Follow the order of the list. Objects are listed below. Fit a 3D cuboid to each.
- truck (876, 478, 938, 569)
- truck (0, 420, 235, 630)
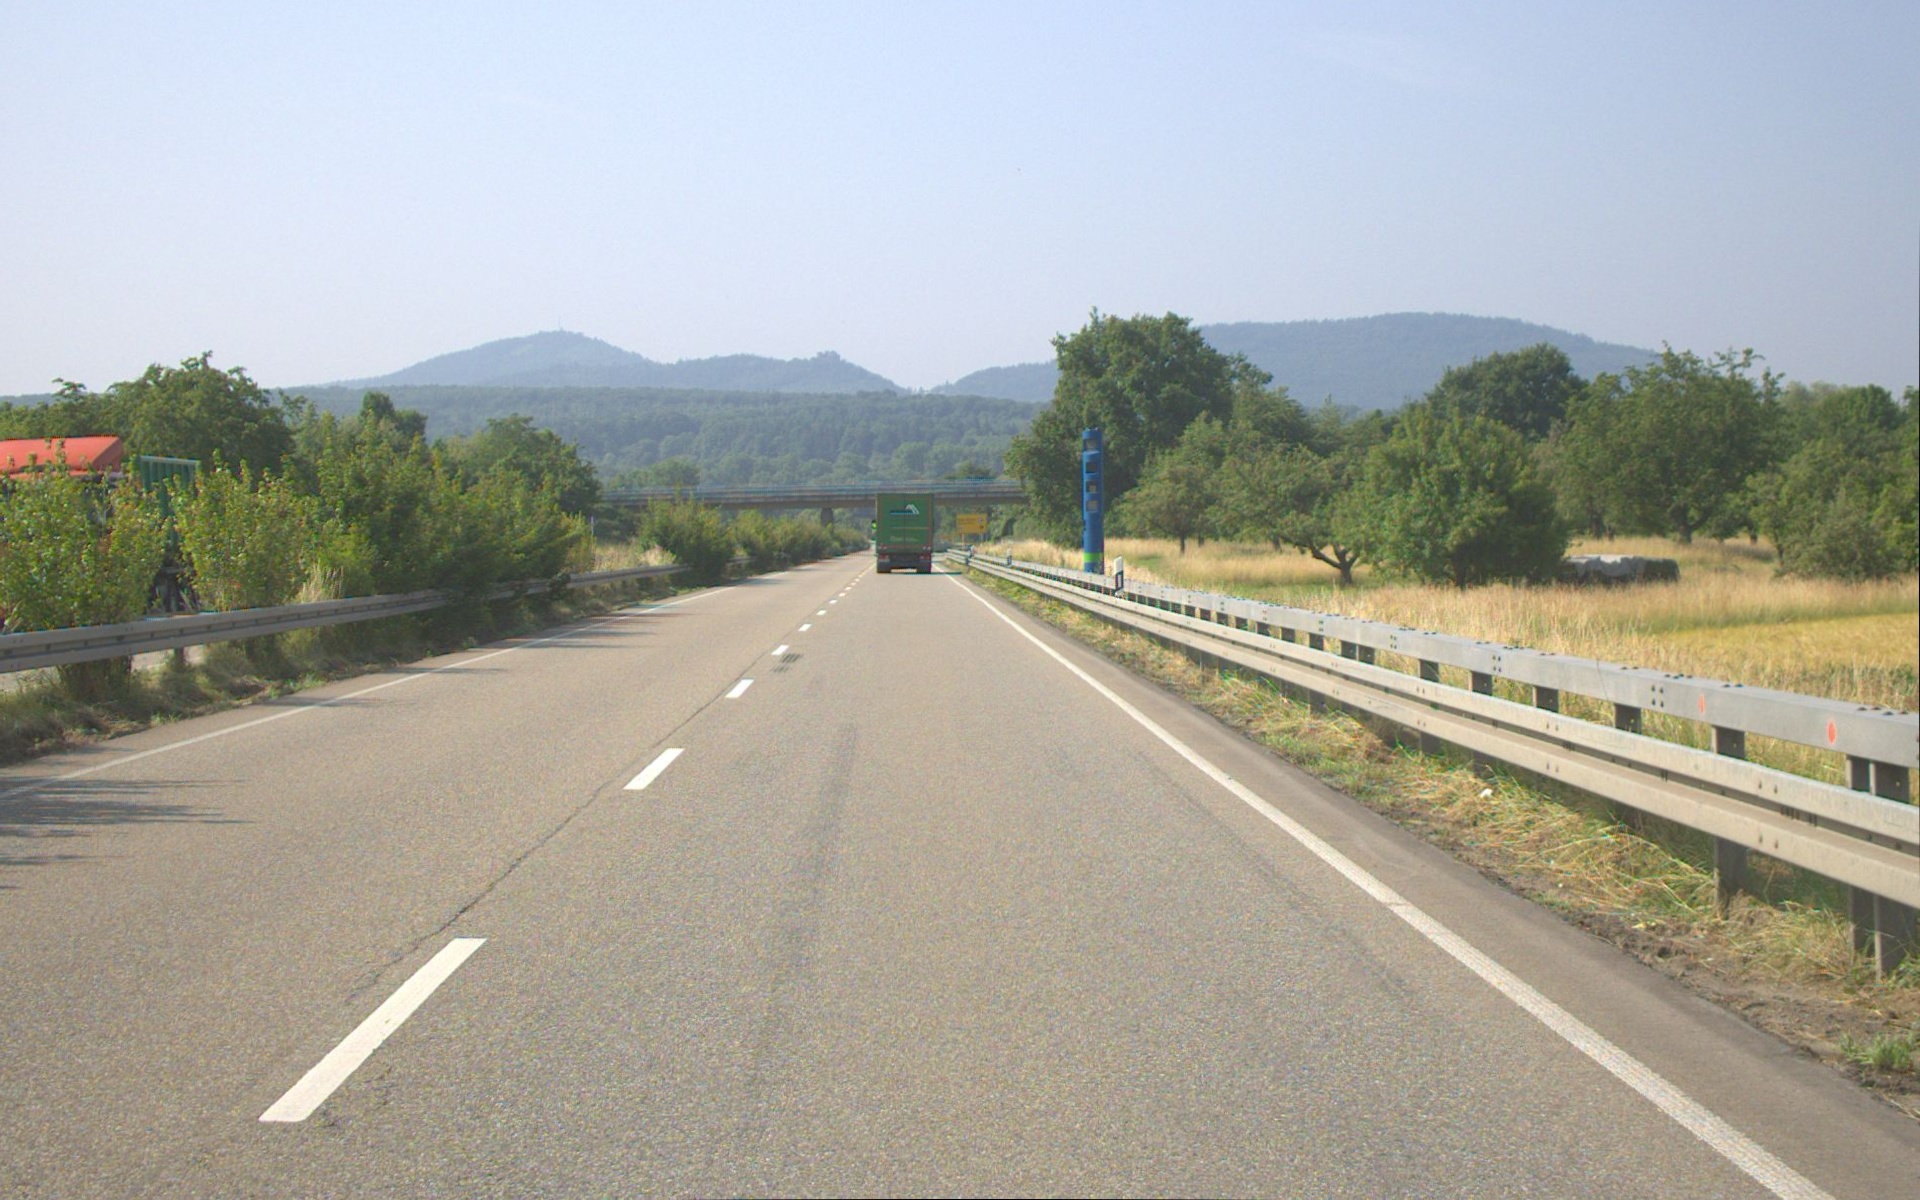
[{"bbox_3d":[-2.405,-3.601,157.906,2.722,3.951,10.417,1,2,-1],"label":"truck"},{"bbox_3d":[-15.833,-1.373,64.065,2.602,3.576,10.386,-1,1,-1],"label":"truck"}]
